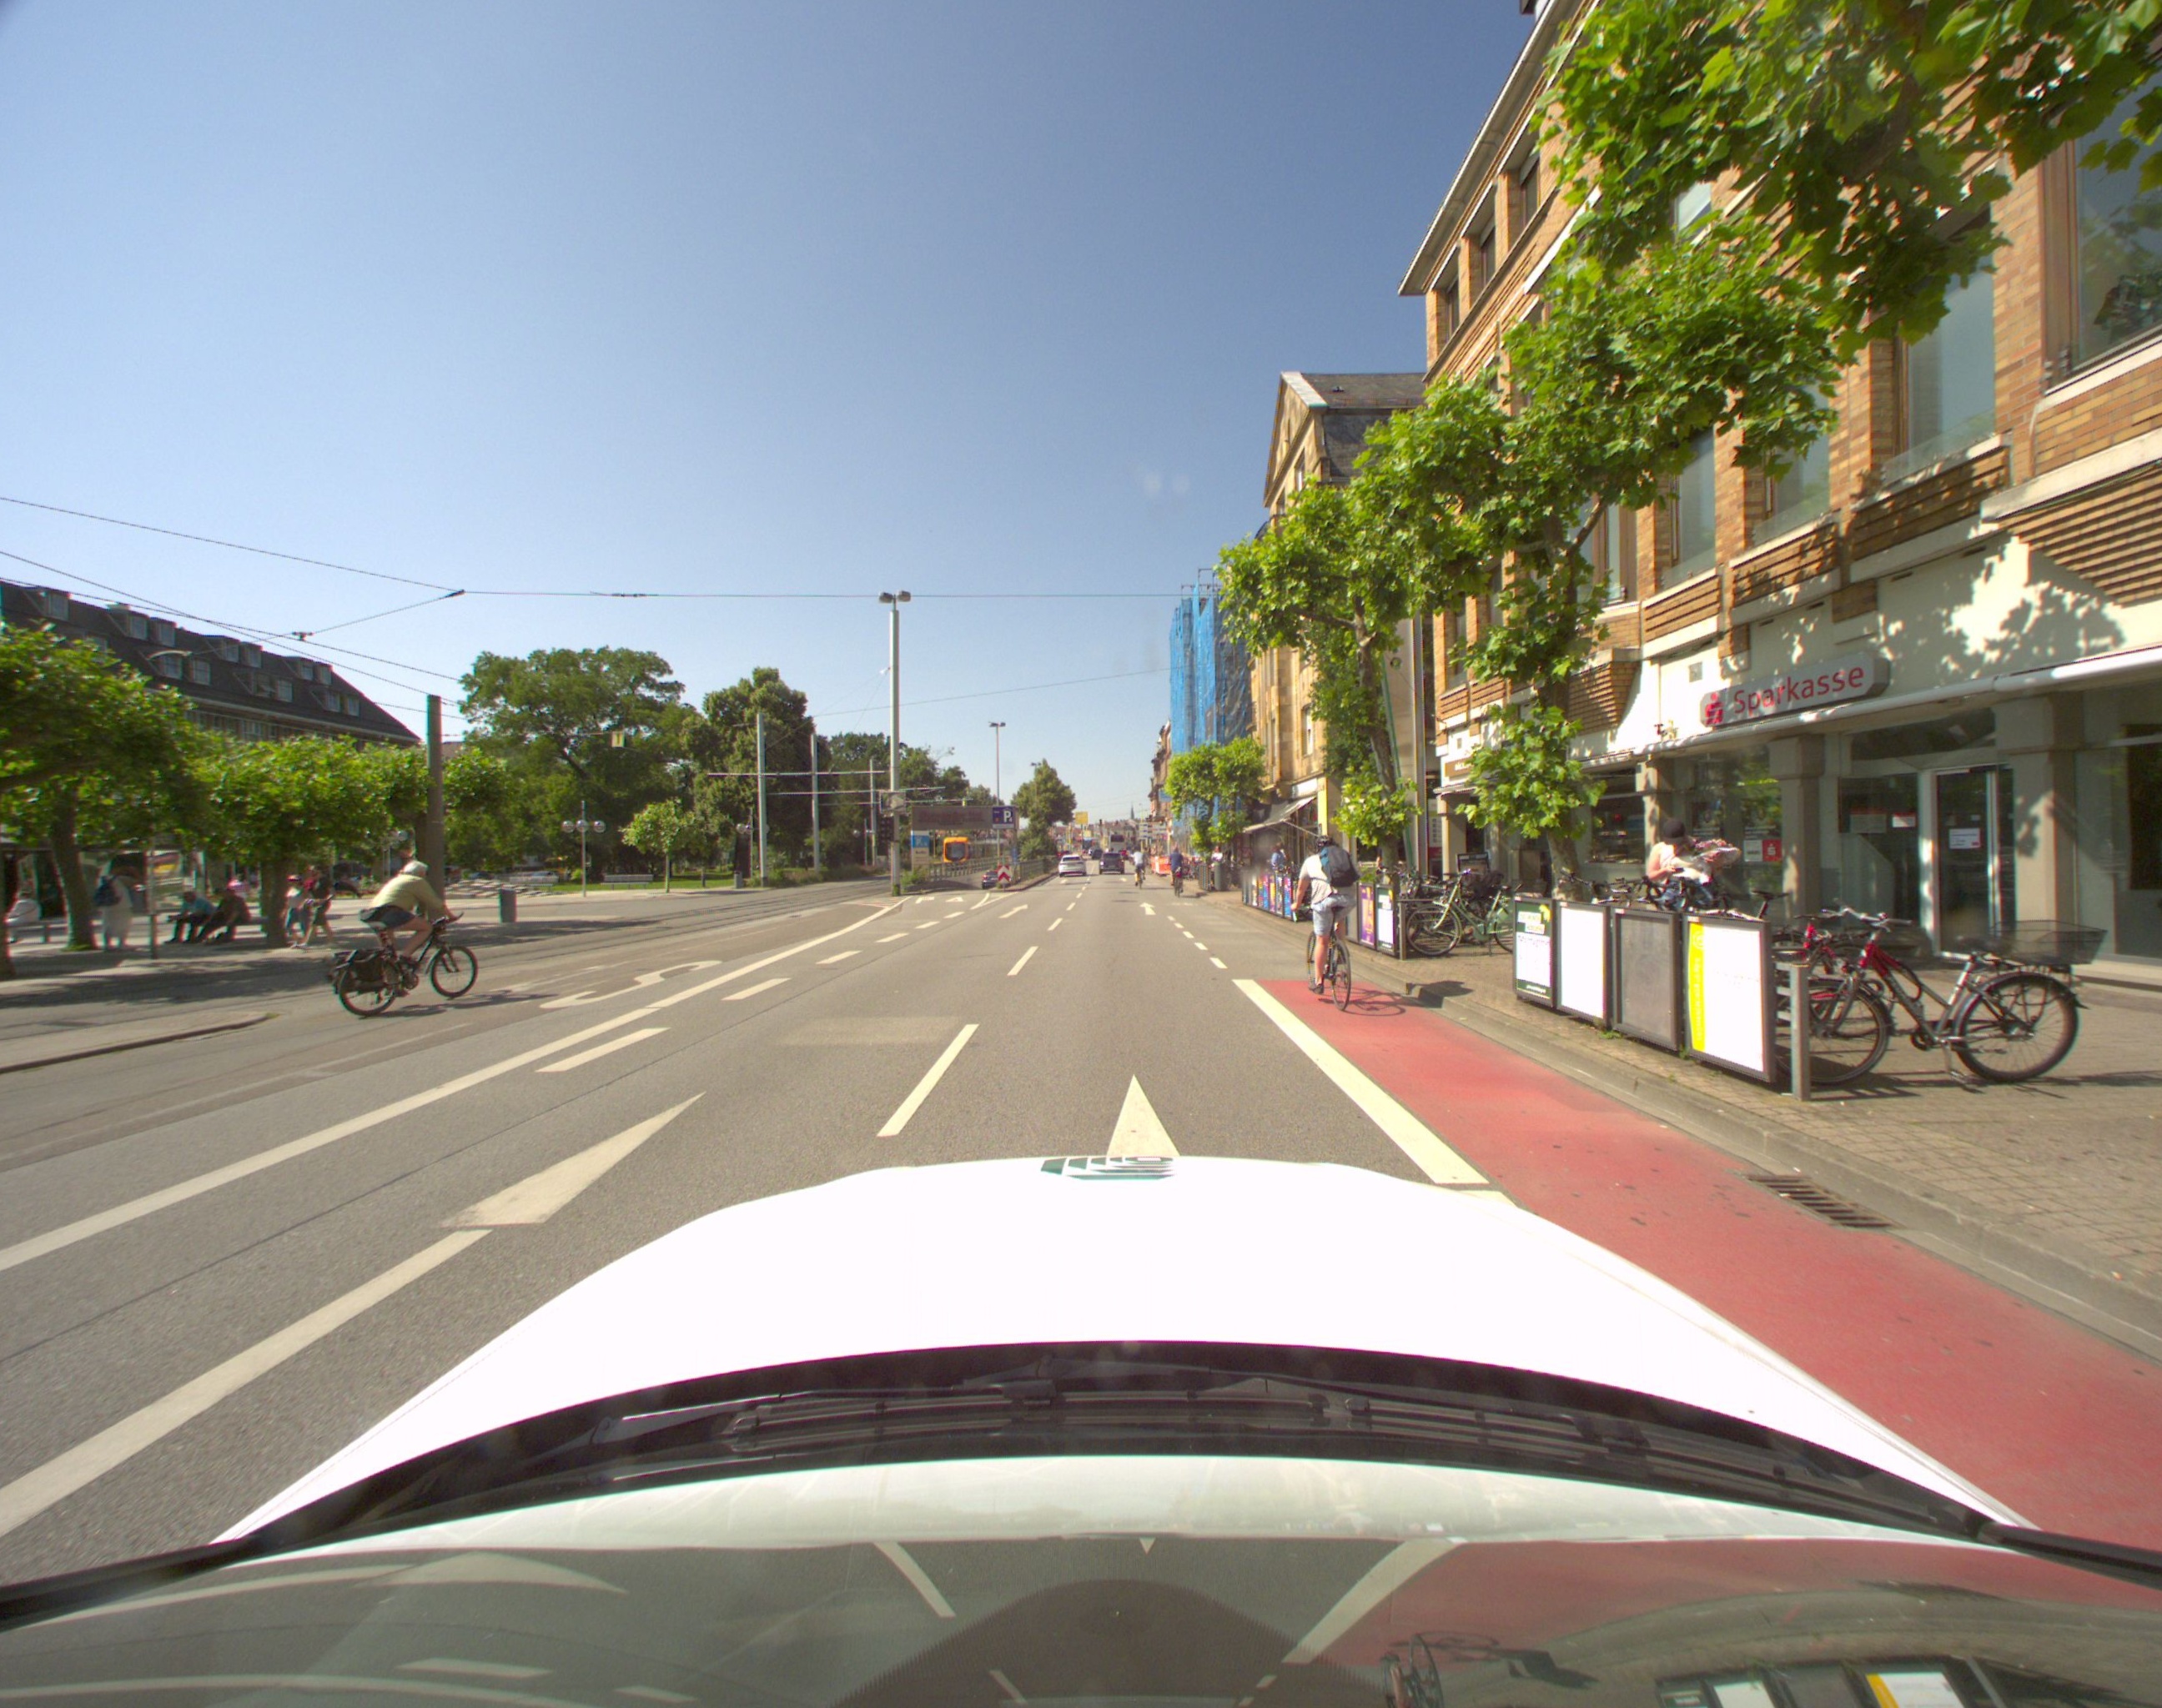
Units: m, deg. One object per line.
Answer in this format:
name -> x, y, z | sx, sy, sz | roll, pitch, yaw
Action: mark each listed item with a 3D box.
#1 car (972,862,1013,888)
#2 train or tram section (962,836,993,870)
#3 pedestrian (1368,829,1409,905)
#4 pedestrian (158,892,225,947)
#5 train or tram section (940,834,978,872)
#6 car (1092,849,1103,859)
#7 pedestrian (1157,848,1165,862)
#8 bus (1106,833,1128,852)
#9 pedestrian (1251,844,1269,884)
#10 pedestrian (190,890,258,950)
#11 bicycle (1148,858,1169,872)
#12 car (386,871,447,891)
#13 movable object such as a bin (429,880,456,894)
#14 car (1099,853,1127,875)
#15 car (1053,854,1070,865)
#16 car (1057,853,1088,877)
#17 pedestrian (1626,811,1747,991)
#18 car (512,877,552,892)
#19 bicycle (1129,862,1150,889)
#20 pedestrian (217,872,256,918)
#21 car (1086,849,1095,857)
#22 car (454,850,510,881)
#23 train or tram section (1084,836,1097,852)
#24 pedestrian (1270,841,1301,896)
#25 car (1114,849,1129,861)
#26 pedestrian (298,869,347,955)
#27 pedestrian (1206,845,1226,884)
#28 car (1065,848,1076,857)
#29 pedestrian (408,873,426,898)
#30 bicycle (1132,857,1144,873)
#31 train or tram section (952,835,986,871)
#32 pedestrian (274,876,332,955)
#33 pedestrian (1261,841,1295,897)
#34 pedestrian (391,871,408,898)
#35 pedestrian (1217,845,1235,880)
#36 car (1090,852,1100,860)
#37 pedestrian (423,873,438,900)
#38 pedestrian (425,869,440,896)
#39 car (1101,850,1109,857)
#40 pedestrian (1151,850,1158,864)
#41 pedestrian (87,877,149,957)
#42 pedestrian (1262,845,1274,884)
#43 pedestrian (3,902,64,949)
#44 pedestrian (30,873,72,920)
car -> -5.580, 1.306, 52.045 | 1.985, 1.508, 4.003 | 1, 0, 3
train or tram section -> -11.542, -0.106, 91.377 | 2.604, 3.581, 5.358 | 1, 0, 1
pedestrian -> 7.401, 0.308, 19.635 | 0.664, 1.781, 0.986 | -2, 0, 6
pedestrian -> -20.745, 1.515, 19.009 | 0.674, 1.171, 0.751 | -4, 1, -5
train or tram section -> -11.847, -0.101, 79.572 | 2.604, 3.581, 6.105 | 1, 0, 1
car -> 2.337, 0.008, 115.548 | 1.447, 1.300, 3.341 | 1, 0, -1
pedestrian -> 10.034, 0.106, 102.004 | 0.753, 1.656, 0.837 | -5, -1, 1
bus -> 5.453, -1.673, 124.731 | 2.959, 2.776, 8.641 | 1, 0, 0
pedestrian -> 7.811, 0.442, 35.622 | 0.499, 1.683, 0.534 | -2, -1, -16
pedestrian -> -19.595, 1.493, 18.628 | 0.674, 1.246, 0.751 | -4, 1, -5
bicycle -> 6.434, 0.897, 67.564 | 1.687, 1.097, 0.609 | 0, 0, 2
car -> -60.011, 2.398, 73.694 | 1.752, 1.663, 4.837 | 1, 0, -4
movable object such as a bin -> -38.359, 1.986, 48.918 | 0.903, 0.754, 0.800 | -4, 1, 2
car -> 2.290, 0.683, 57.361 | 1.866, 1.492, 4.003 | 1, 0, 3
car -> -2.478, 0.645, 104.154 | 1.808, 1.332, 4.003 | 1, 0, 3
car -> -0.527, 0.723, 55.005 | 1.851, 1.507, 4.003 | -3, 0, 3
pedestrian -> 5.784, 0.426, 7.821 | 0.649, 1.633, 0.731 | 1, 0, 6
car -> -59.608, 3.287, 88.476 | 1.752, 1.508, 3.994 | 1, 0, -4
bicycle -> 2.513, 0.905, 35.142 | 0.731, 1.093, 1.898 | 1, 0, 0
pedestrian -> -33.196, 1.615, 32.017 | 0.674, 1.706, 0.706 | -4, 0, 0
car -> 1.717, -0.188, 147.928 | 1.446, 1.300, 4.003 | 1, 0, 3
car -> -66.674, 1.259, 90.798 | 2.119, 3.316, 5.421 | 1, 0, 1
train or tram section -> 2.036, -2.153, 182.820 | 2.813, 3.581, 10.030 | 1, 0, 0
pedestrian -> 6.269, 0.432, 24.952 | 0.599, 1.626, 0.641 | -4, 0, -13
car -> 5.386, 0.168, 108.125 | 1.985, 1.492, 4.003 | 1, 0, 3
pedestrian -> -15.985, 1.208, 17.180 | 0.528, 1.733, 0.582 | -4, 1, -29
pedestrian -> 5.806, 0.448, 35.026 | 0.657, 1.683, 0.651 | -1, -1, -12
car -> -1.590, -0.214, 121.618 | 1.446, 1.300, 4.003 | 1, 0, 3
pedestrian -> -41.847, 1.979, 51.349 | 0.524, 1.493, 0.660 | -4, 1, -7
bicycle -> 3.936, 0.750, 56.600 | 0.731, 1.093, 1.898 | 1, 0, 1
train or tram section -> -11.709, -0.104, 85.663 | 2.604, 3.581, 6.105 | 1, 0, 1
pedestrian -> -16.604, 1.305, 17.385 | 0.521, 1.609, 0.628 | -3, 1, 11
pedestrian -> 5.901, 0.450, 24.447 | 0.695, 1.626, 0.700 | -2, 0, -10
pedestrian -> -42.689, 1.924, 51.033 | 0.492, 1.609, 0.619 | -4, 1, -8
pedestrian -> 7.779, 0.460, 43.737 | 0.809, 1.848, 0.893 | -3, -1, 9
car -> 2.150, 0.328, 125.455 | 1.447, 1.300, 3.341 | 1, 0, 0
pedestrian -> -39.717, 1.989, 49.710 | 0.413, 1.609, 0.493 | -4, 1, -8
pedestrian -> -39.184, 1.734, 49.206 | 0.450, 1.609, 0.466 | -4, 1, 2
car -> 4.790, -0.153, 165.388 | 1.447, 1.300, 3.341 | 1, 0, 0
pedestrian -> 8.848, 0.352, 98.015 | 0.652, 1.620, 0.815 | -2, 1, 0
pedestrian -> -20.234, 1.301, 17.117 | 0.577, 1.609, 0.598 | -4, 1, -27
pedestrian -> 8.219, 0.446, 35.818 | 0.377, 1.683, 0.479 | -2, -1, 20
pedestrian -> -24.778, 1.688, 19.280 | 0.631, 1.001, 0.581 | -4, 1, 4
pedestrian -> -40.128, 1.645, 31.727 | 0.738, 1.728, 0.619 | -3, 0, 0
